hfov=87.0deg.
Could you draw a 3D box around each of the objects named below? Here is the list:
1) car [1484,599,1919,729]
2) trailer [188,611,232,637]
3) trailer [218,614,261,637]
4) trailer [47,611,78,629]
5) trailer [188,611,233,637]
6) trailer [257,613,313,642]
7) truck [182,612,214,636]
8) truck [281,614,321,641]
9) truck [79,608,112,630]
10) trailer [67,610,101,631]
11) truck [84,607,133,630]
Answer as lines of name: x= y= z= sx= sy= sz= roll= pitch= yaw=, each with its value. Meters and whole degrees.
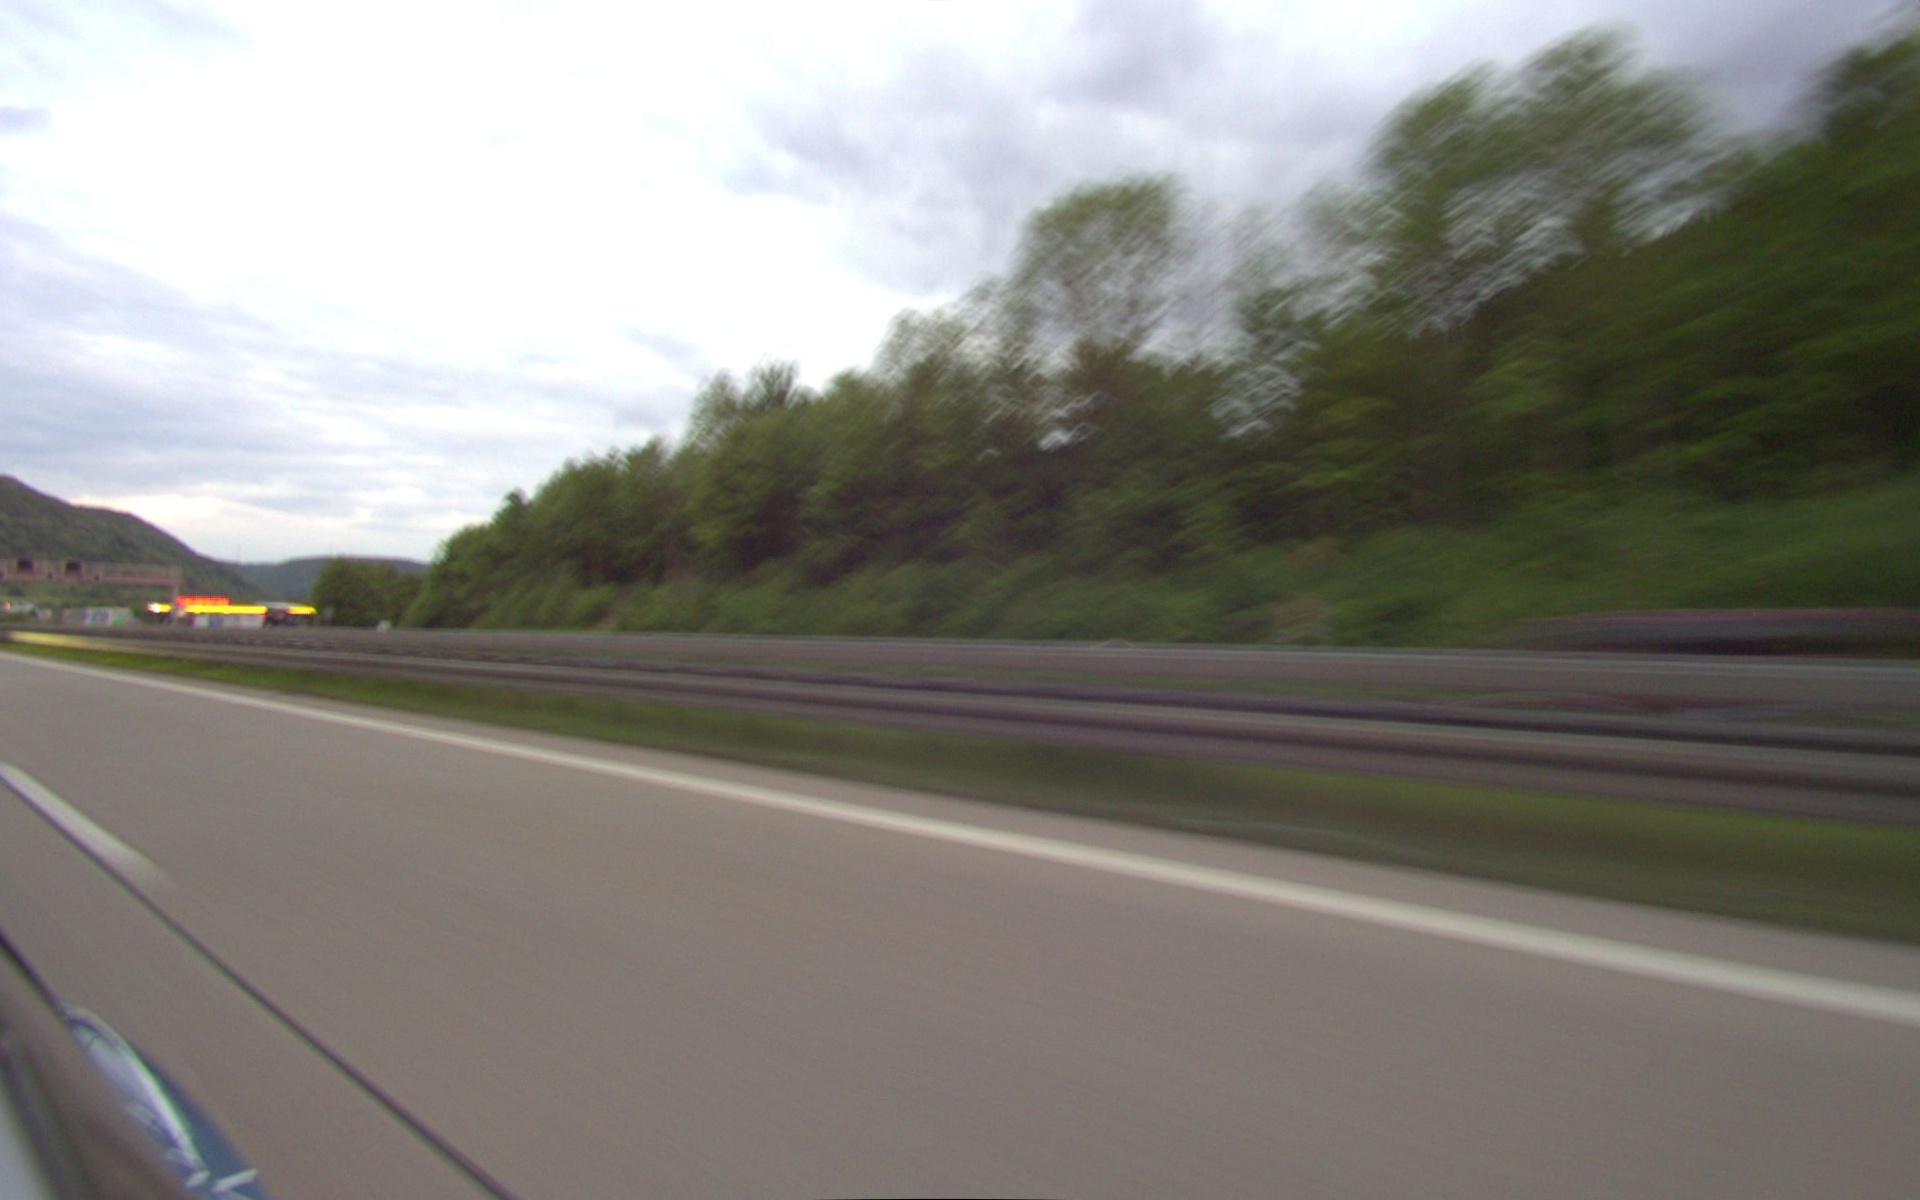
car: x=11.563 y=0.883 z=15.885 sx=5.657 sy=1.747 sz=1.829 roll=-1 pitch=-1 yaw=41
trailer: x=-130.818 y=4.171 z=176.331 sx=15.940 sy=4.292 sz=2.986 roll=-1 pitch=-1 yaw=42
trailer: x=-116.226 y=4.101 z=163.175 sx=12.711 sy=3.707 sz=2.843 roll=-1 pitch=-1 yaw=42
trailer: x=-171.077 y=3.847 z=192.844 sx=13.566 sy=3.451 sz=2.843 roll=-1 pitch=-1 yaw=42
trailer: x=-130.753 y=4.172 z=176.407 sx=15.940 sy=4.292 sz=2.986 roll=-1 pitch=-1 yaw=42
trailer: x=-91.432 y=3.674 z=137.418 sx=3.018 sy=3.707 sz=13.384 roll=0 pitch=-1 yaw=-19
truck: x=-136.835 y=4.269 z=181.708 sx=8.861 sy=4.292 sz=2.986 roll=-1 pitch=-1 yaw=42
truck: x=-93.652 y=3.812 z=143.933 sx=2.962 sy=3.707 sz=7.702 roll=0 pitch=-1 yaw=-19
truck: x=-140.141 y=3.068 z=164.029 sx=6.715 sy=3.451 sz=2.847 roll=-1 pitch=-1 yaw=37
trailer: x=-152.465 y=3.553 z=176.055 sx=13.845 sy=3.451 sz=2.843 roll=-1 pitch=-1 yaw=42
truck: x=-134.478 y=2.952 z=159.728 sx=13.765 sy=3.451 sz=2.847 roll=-1 pitch=-1 yaw=37
